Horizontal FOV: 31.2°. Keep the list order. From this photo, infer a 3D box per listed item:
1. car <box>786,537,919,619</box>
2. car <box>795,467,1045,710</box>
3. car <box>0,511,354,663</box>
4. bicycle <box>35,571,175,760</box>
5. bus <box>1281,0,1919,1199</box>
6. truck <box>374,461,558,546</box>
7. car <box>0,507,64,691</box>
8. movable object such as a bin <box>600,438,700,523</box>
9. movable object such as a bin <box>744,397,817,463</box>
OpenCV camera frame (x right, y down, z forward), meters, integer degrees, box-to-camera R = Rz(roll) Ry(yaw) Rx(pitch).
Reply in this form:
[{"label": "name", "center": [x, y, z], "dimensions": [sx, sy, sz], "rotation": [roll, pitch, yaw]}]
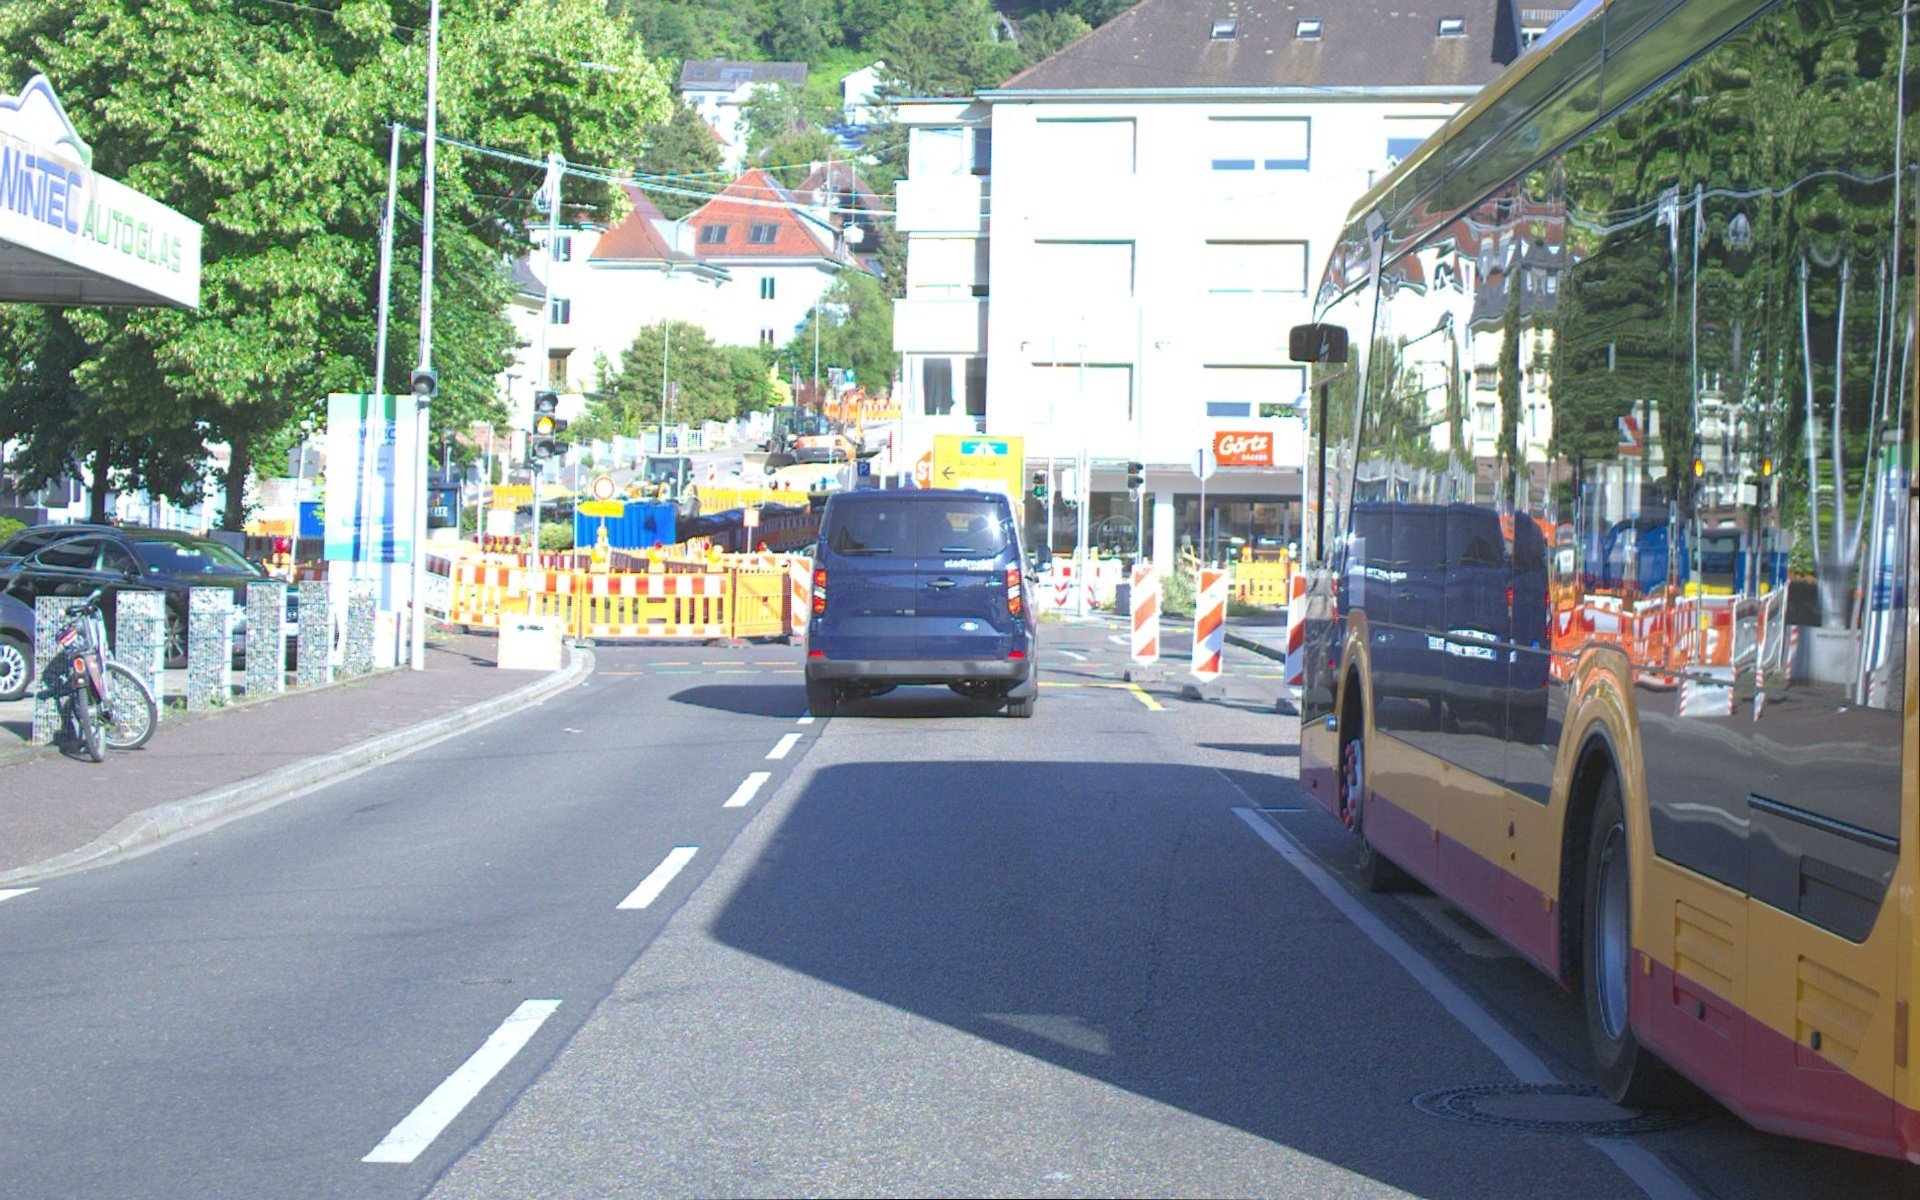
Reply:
[{"label": "car", "center": [-1.962, -0.416, 61.691], "dimensions": [1.794, 1.405, 4.001], "rotation": [1, 1, -10]}, {"label": "car", "center": [-0.326, -0.111, 31.161], "dimensions": [2.062, 2.007, 5.000], "rotation": [1, 0, 0]}, {"label": "car", "center": [-8.603, -0.160, 37.202], "dimensions": [1.905, 1.449, 4.311], "rotation": [1, 2, -44]}, {"label": "bicycle", "center": [-5.640, 0.410, 22.758], "dimensions": [0.723, 1.174, 1.781], "rotation": [1, 1, -9]}, {"label": "bus", "center": [3.010, -0.363, 11.780], "dimensions": [2.688, 3.404, 12.019], "rotation": [1, 1, 0]}, {"label": "truck", "center": [-14.700, -2.844, 103.151], "dimensions": [2.357, 2.407, 9.147], "rotation": [1, 1, 12]}, {"label": "car", "center": [-9.451, -0.034, 28.898], "dimensions": [1.620, 1.563, 3.386], "rotation": [2, 1, 39]}, {"label": "movable object such as a bin", "center": [-10.221, -3.934, 113.577], "dimensions": [2.192, 2.681, 3.998], "rotation": [1, 1, 12]}, {"label": "movable object such as a bin", "center": [-7.708, -7.291, 148.004], "dimensions": [2.192, 2.681, 3.998], "rotation": [1, 1, 12]}]
